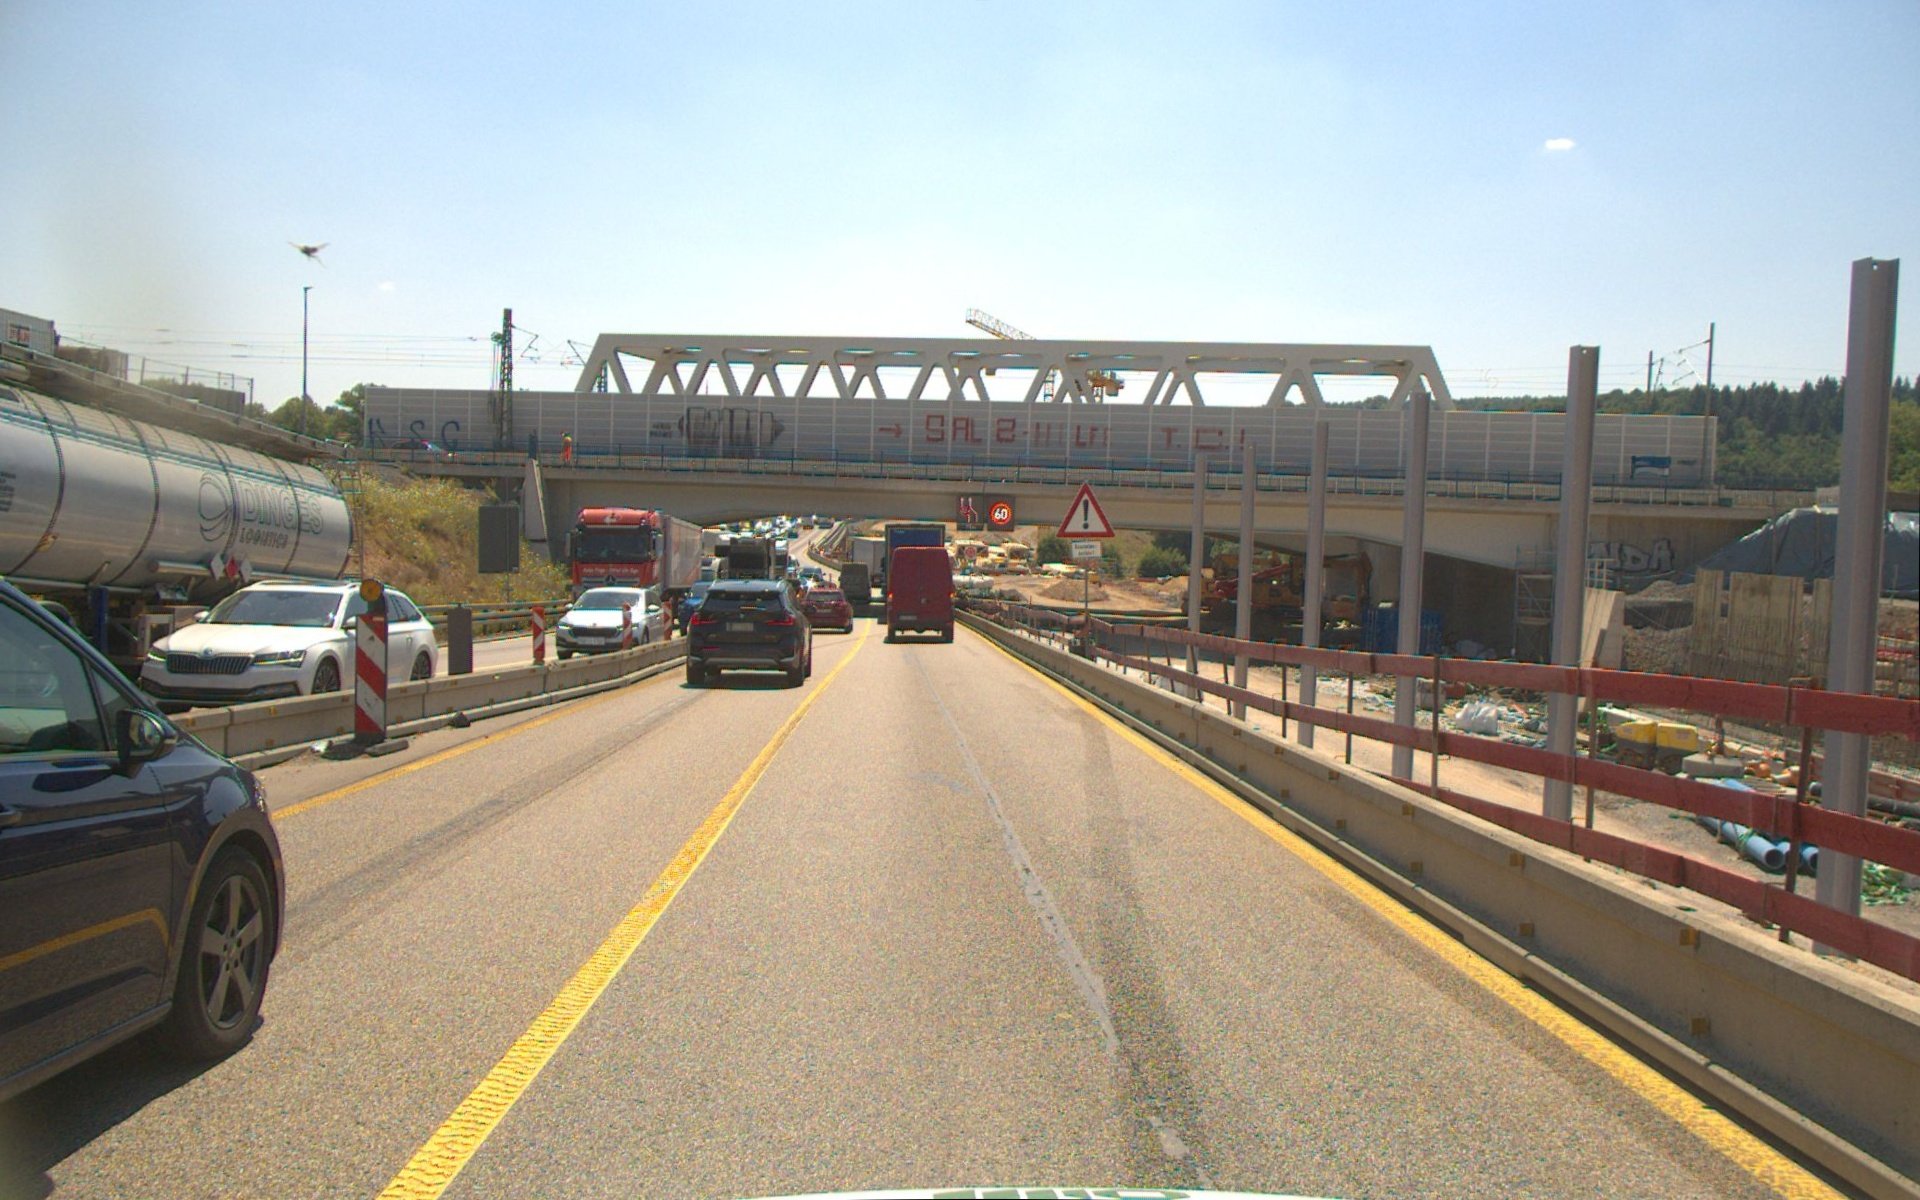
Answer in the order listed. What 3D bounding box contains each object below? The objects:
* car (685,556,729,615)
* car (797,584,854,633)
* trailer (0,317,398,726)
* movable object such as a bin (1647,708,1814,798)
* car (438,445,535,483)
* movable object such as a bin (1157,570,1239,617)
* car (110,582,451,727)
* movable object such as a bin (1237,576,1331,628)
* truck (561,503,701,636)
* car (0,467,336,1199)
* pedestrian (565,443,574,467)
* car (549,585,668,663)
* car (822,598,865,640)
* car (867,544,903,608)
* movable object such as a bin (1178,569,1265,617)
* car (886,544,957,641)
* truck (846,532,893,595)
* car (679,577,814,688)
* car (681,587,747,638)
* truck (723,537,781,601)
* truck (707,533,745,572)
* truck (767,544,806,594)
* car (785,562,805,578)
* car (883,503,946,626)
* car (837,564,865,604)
[{"bbox_3d":[-12.099,-0.727,79.374,1.549,2.700,5.388,1,1,-4],"label":"car"},{"bbox_3d":[-4.456,0.262,55.176,1.740,1.543,4.204,0,1,-3],"label":"car"},{"bbox_3d":[-10.586,-0.861,21.479,2.299,4.085,11.453,1,1,2],"label":"trailer"},{"bbox_3d":[16.500,3.241,35.440,3.042,1.590,1.549,2,1,33],"label":"movable object such as a bin"},{"bbox_3d":[-24.723,-7.123,86.421,4.456,1.814,1.962,1,1,10],"label":"car"},{"bbox_3d":[15.255,-0.427,106.246,5.039,2.856,2.143,1,0,3],"label":"movable object such as a bin"},{"bbox_3d":[-7.489,0.519,18.788,1.779,1.408,4.585,1,1,3],"label":"car"},{"bbox_3d":[18.549,0.090,94.869,5.039,2.856,2.143,1,0,3],"label":"movable object such as a bin"},{"bbox_3d":[-10.831,-1.001,55.867,2.778,3.919,12.905,1,1,-3],"label":"truck"},{"bbox_3d":[-3.060,0.561,3.588,1.740,1.748,4.651,1,2,-2],"label":"car"},{"bbox_3d":[-19.942,-7.393,84.400,0.329,1.232,0.308,1,0,10],"label":"pedestrian"},{"bbox_3d":[-7.218,0.455,34.341,1.797,1.471,4.153,1,1,-4],"label":"car"},{"bbox_3d":[-5.013,0.787,71.244,1.803,1.683,4.162,0,1,-4],"label":"car"},{"bbox_3d":[-5.149,-1.612,112.716,2.401,4.233,6.856,0,1,-3],"label":"car"},{"bbox_3d":[16.096,-0.450,101.872,5.039,2.856,2.143,1,0,3],"label":"movable object such as a bin"},{"bbox_3d":[-1.181,-0.244,48.783,1.949,2.737,4.621,0,1,-3],"label":"car"},{"bbox_3d":[-8.426,-3.325,152.483,2.783,5.492,12.882,1,1,-10],"label":"truck"},{"bbox_3d":[-3.374,0.453,26.900,1.842,1.646,4.496,0,1,-3],"label":"car"},{"bbox_3d":[-7.480,0.349,50.618,1.548,1.471,3.663,1,1,-2],"label":"car"},{"bbox_3d":[-13.602,-1.992,109.137,2.778,3.919,12.905,1,1,-3],"label":"truck"},{"bbox_3d":[-24.993,-4.998,176.137,2.786,3.919,12.868,1,1,-13],"label":"truck"},{"bbox_3d":[-14.637,-2.583,139.005,2.781,3.919,12.890,1,1,-8],"label":"truck"},{"bbox_3d":[-18.068,-3.296,180.932,1.845,1.685,3.989,1,1,-12],"label":"car"},{"bbox_3d":[-2.142,-1.570,74.358,2.569,5.120,10.390,0,1,-3],"label":"car"},{"bbox_3d":[-6.891,-1.052,105.207,1.740,2.483,4.203,0,1,-3],"label":"car"}]
